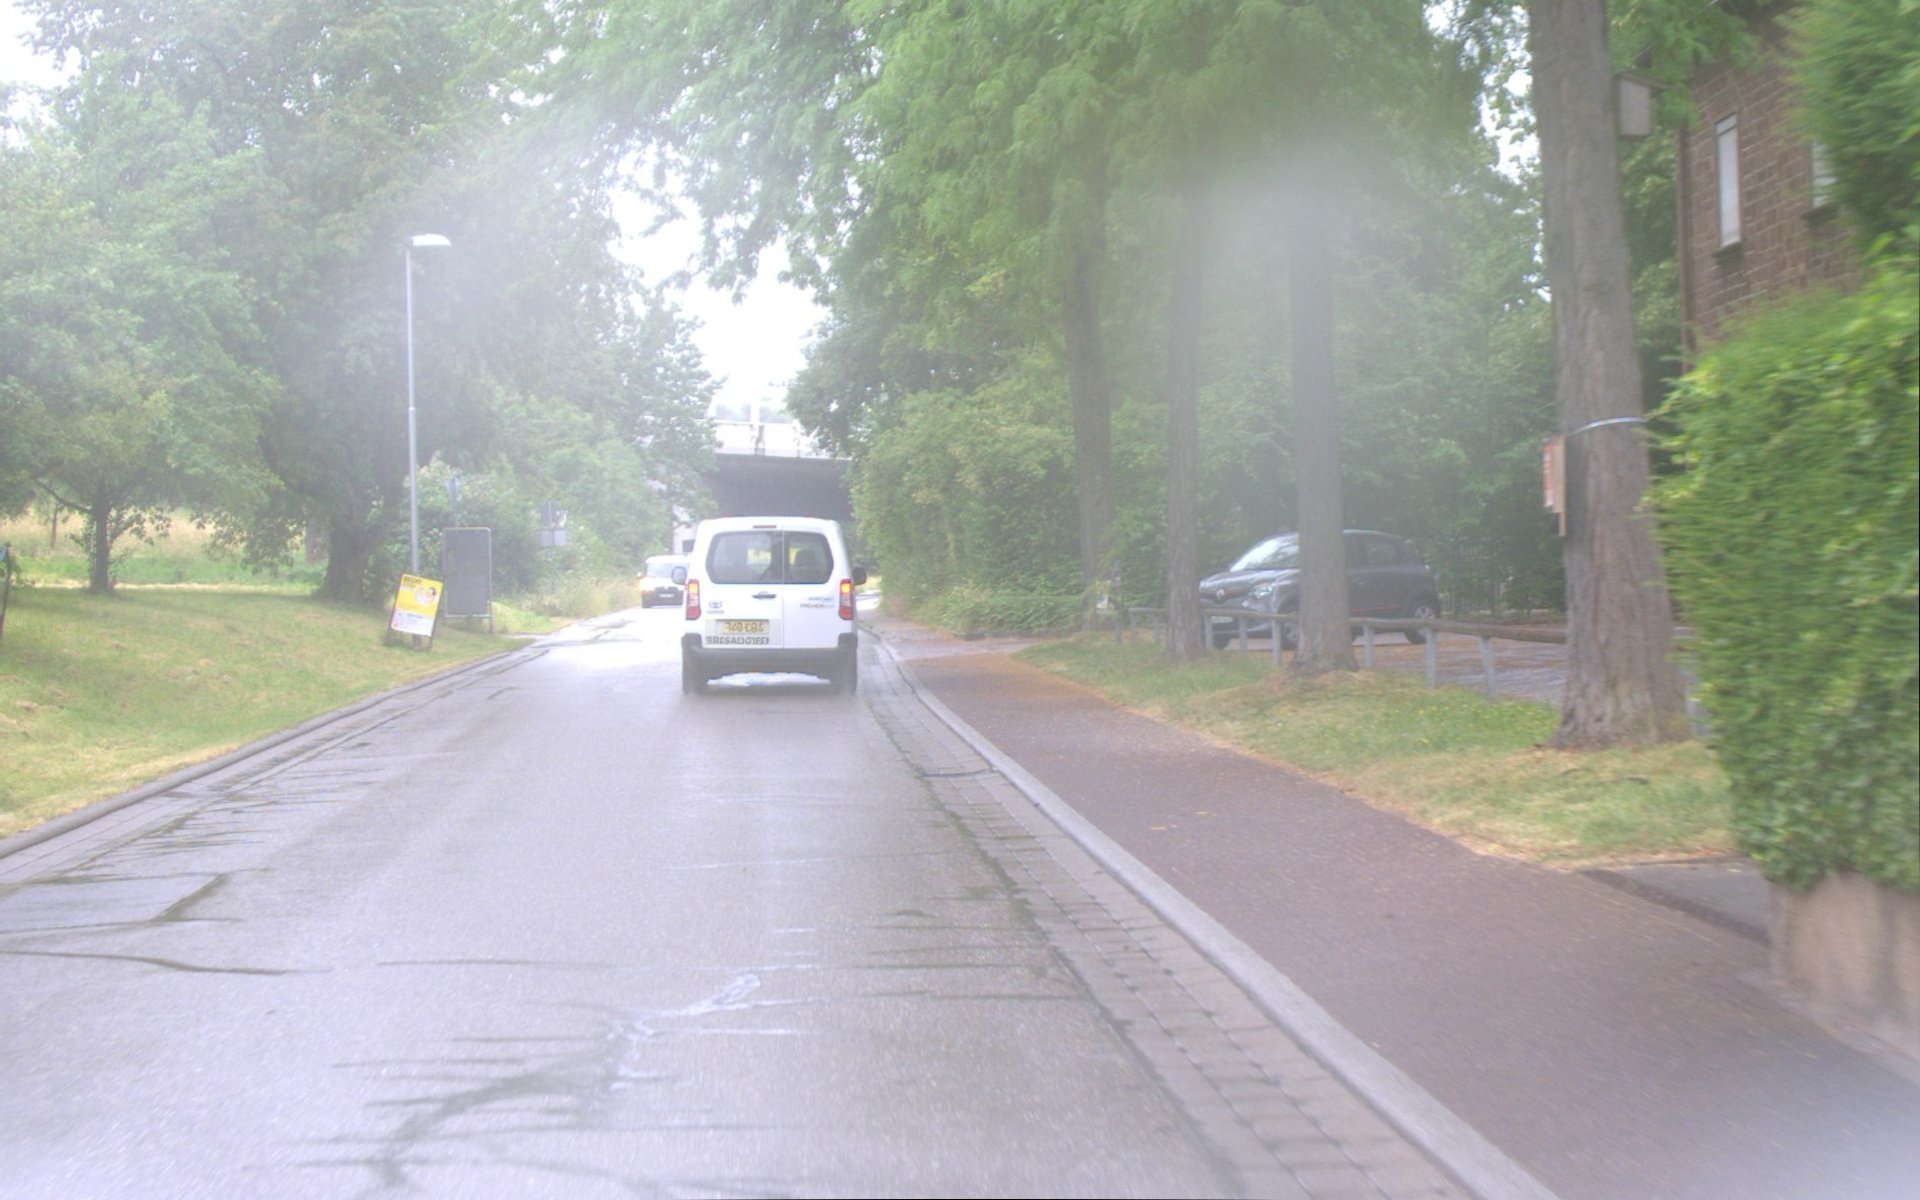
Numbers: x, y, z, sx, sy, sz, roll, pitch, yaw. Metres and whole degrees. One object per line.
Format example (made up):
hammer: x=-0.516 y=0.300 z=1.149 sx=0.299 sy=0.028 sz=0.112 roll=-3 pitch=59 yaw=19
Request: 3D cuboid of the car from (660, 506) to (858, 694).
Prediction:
car: x=-2.077 y=-0.038 z=36.154 sx=1.896 sy=1.801 sz=4.001 roll=-2 pitch=1 yaw=-2

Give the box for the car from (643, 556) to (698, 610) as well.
car: x=-9.962 y=-0.594 z=118.471 sx=1.823 sy=1.825 sz=4.308 roll=-1 pitch=0 yaw=-4

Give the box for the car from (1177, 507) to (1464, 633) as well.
car: x=4.741 y=-0.399 z=45.037 sx=3.602 sy=1.546 sz=1.621 roll=-2 pitch=0 yaw=-39
